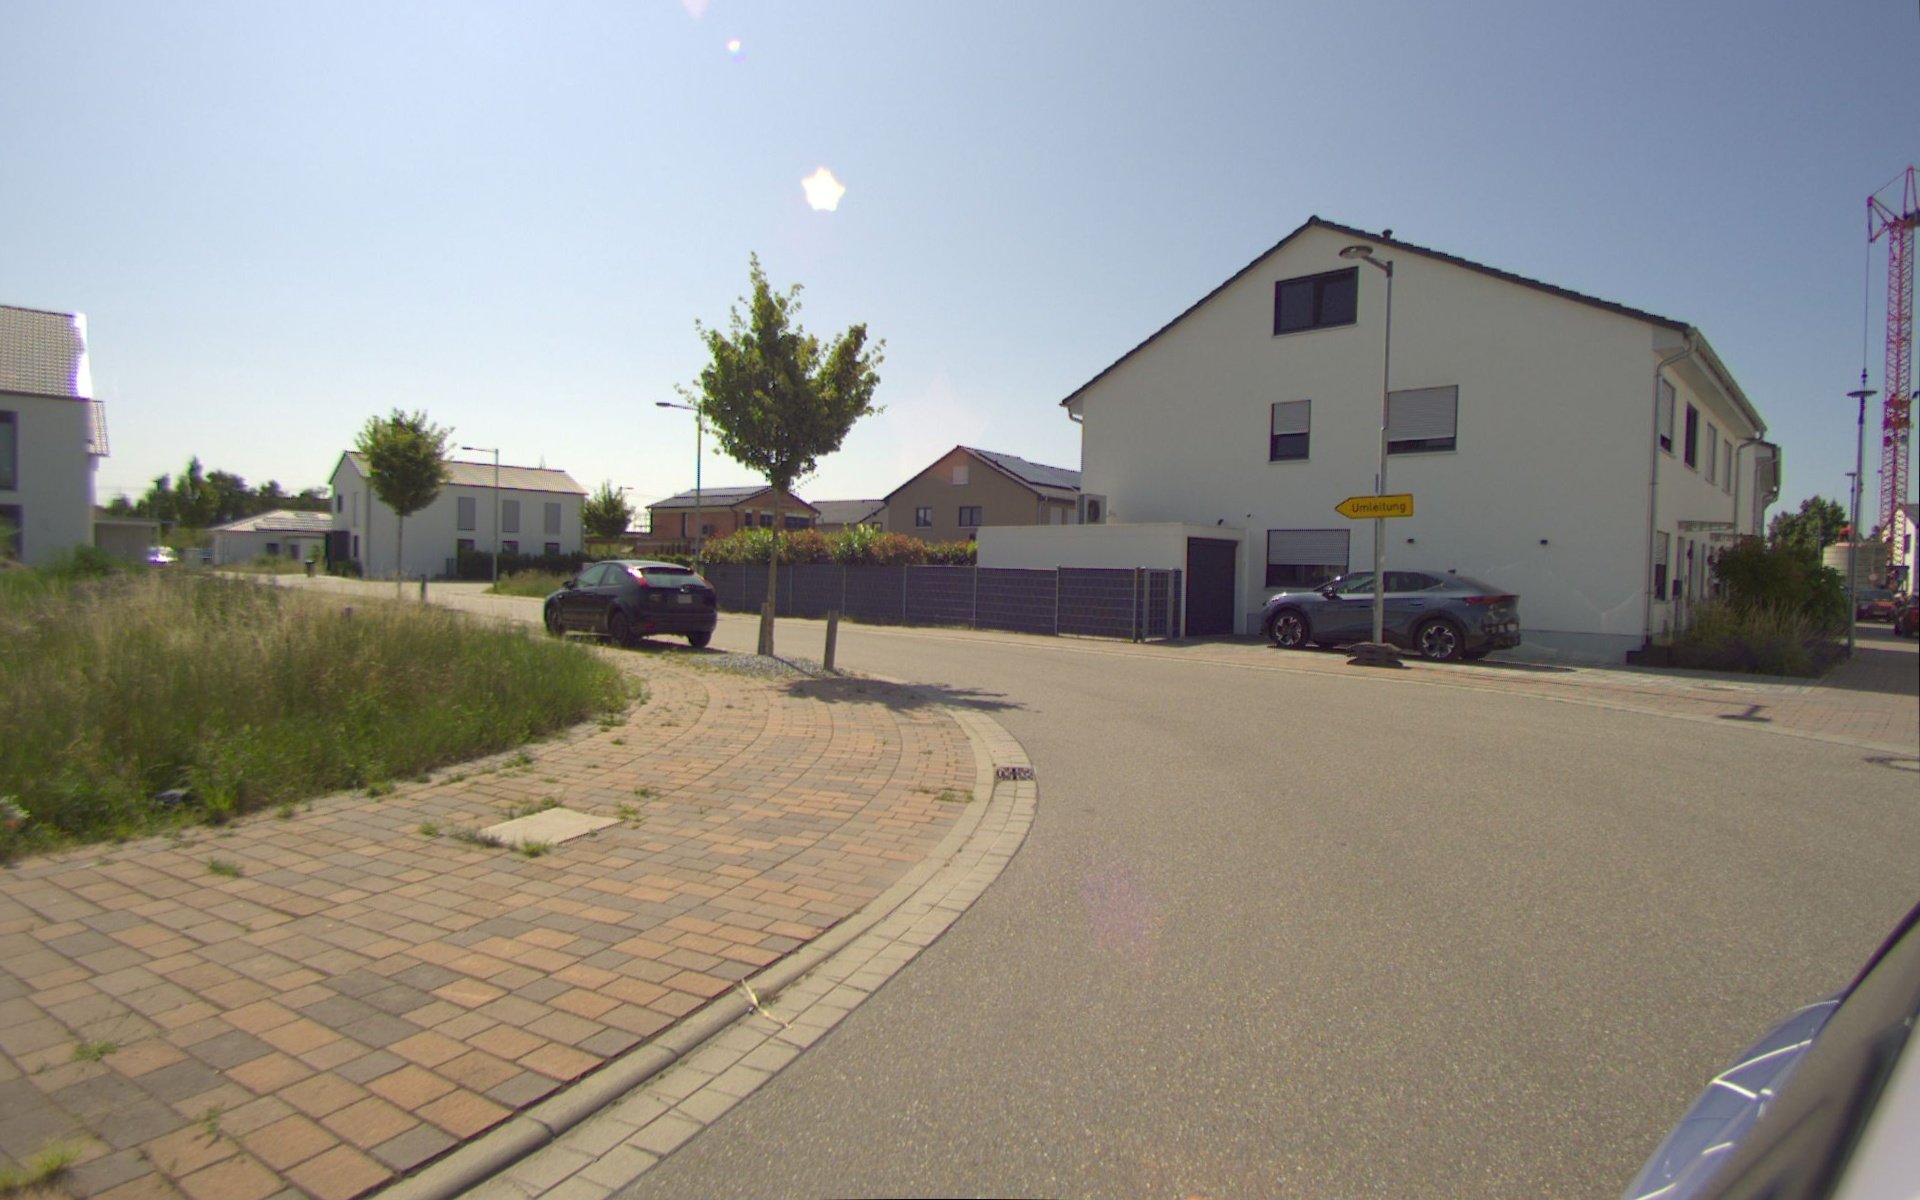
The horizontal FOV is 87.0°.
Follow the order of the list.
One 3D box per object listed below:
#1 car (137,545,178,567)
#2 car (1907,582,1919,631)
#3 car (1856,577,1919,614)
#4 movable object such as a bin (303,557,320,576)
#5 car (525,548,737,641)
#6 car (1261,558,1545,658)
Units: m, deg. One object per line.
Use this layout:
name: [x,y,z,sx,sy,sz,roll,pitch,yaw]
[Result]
car: [-55.018,-3.031,69.360,1.894,1.437,4.412,0,2,-43]
car: [31.889,0.207,32.604,1.906,1.497,3.940,3,3,42]
car: [43.832,-0.253,47.893,1.793,1.637,3.629,2,3,36]
movable object such as a bin: [-39.338,-2.014,61.381,0.794,1.112,0.671,0,2,-42]
car: [-6.084,-0.170,18.507,4.176,1.512,1.823,2,3,41]
car: [7.995,0.064,18.535,1.928,1.577,4.340,1,2,-44]
